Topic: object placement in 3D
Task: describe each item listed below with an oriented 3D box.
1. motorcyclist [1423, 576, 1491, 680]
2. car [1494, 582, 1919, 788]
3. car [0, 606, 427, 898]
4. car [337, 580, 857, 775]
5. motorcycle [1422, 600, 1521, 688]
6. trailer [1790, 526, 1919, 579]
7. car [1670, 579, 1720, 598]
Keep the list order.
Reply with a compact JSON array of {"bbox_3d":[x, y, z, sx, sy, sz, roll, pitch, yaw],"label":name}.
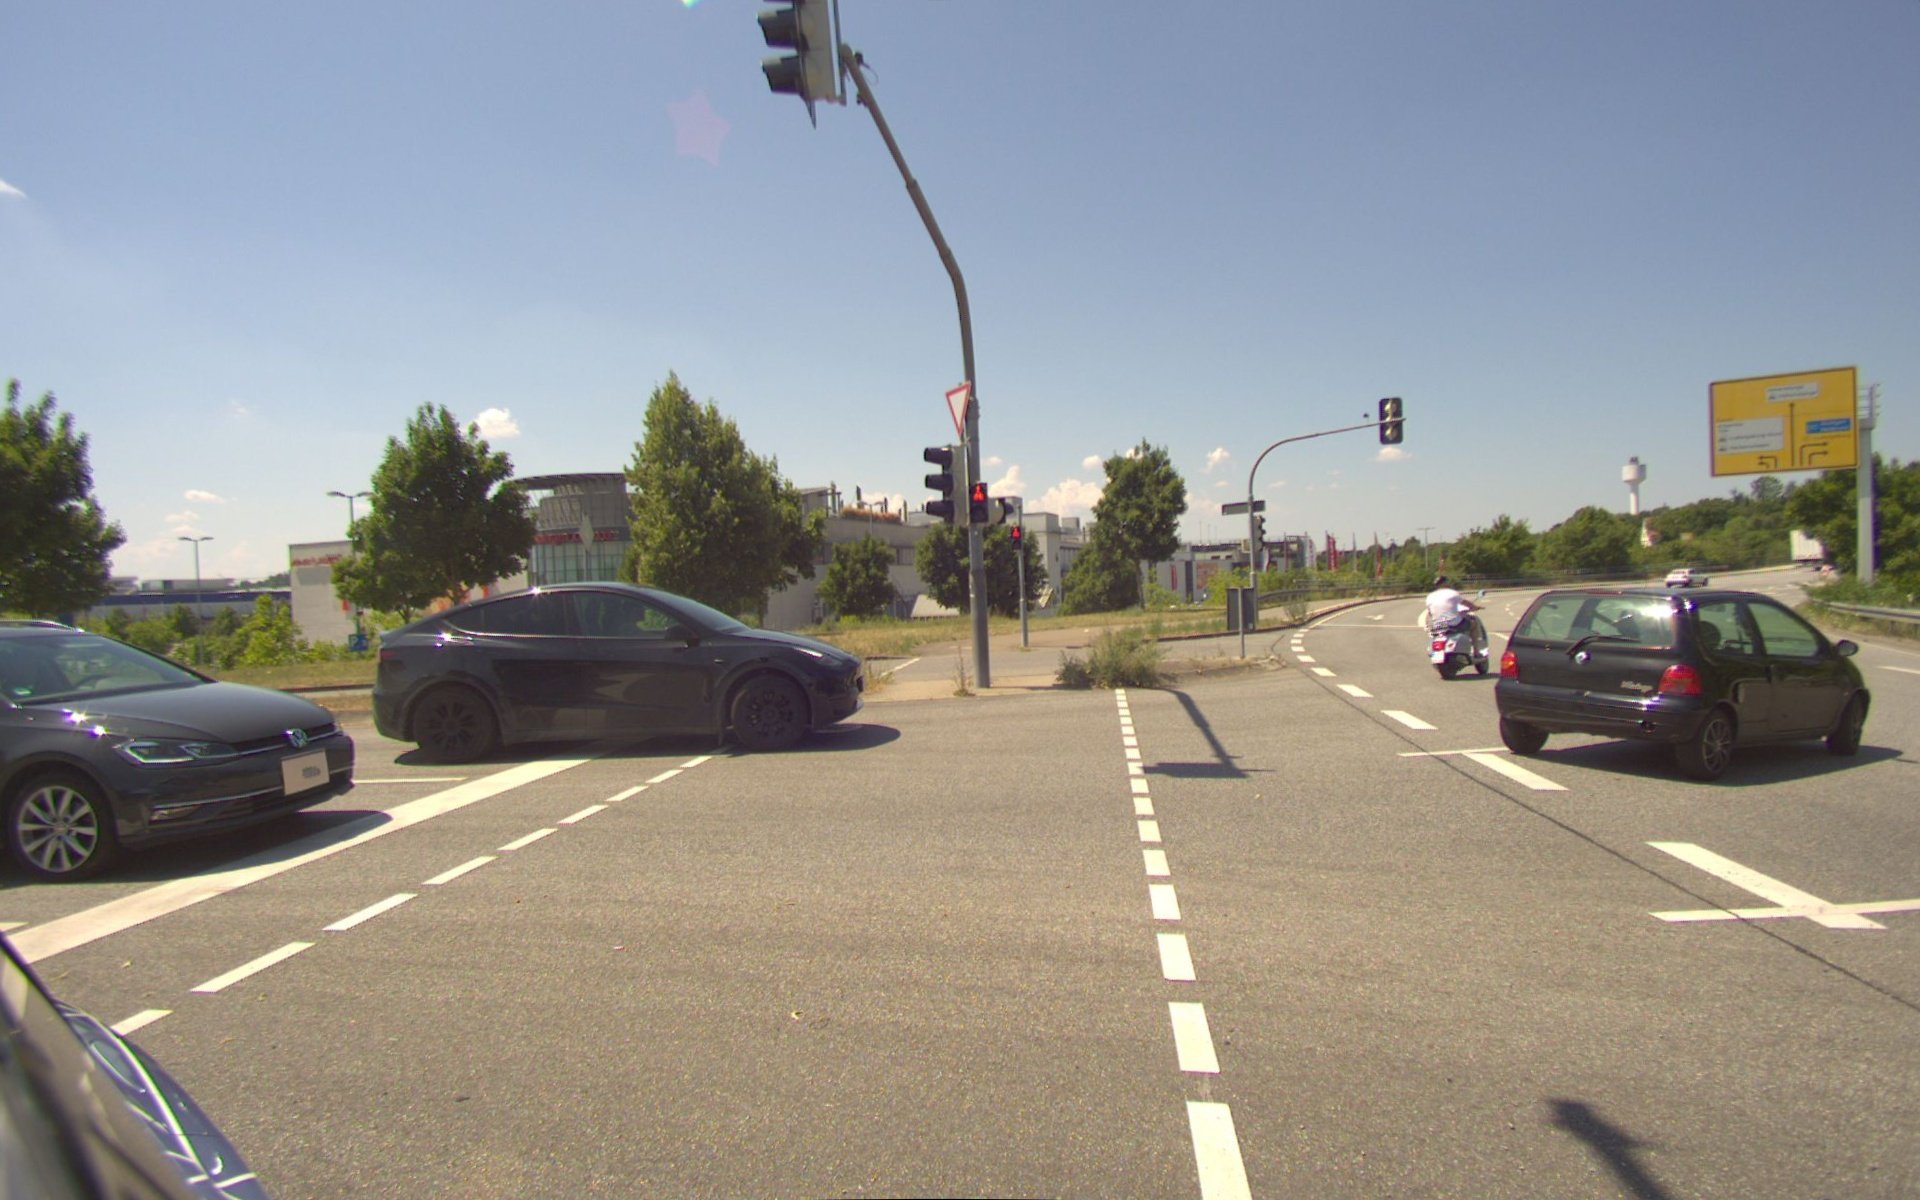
[{"bbox_3d":[7.732,0.418,15.734,0.833,1.551,0.615,-2,1,-37],"label":"motorcyclist"},{"bbox_3d":[6.273,0.618,8.450,3.243,1.418,1.630,1,-2,-27],"label":"car"},{"bbox_3d":[-6.008,0.868,6.387,4.371,1.493,1.782,-2,1,3],"label":"car"},{"bbox_3d":[-3.331,0.674,9.988,4.441,1.613,1.882,-2,1,-1],"label":"car"},{"bbox_3d":[7.967,0.649,15.727,1.909,1.247,0.579,-1,1,-37],"label":"motorcycle"},{"bbox_3d":[85.989,-4.593,96.566,15.143,4.280,3.253,-4,1,-20],"label":"trailer"},{"bbox_3d":[59.500,-0.932,81.893,3.922,1.405,1.652,0,3,-28],"label":"car"}]
